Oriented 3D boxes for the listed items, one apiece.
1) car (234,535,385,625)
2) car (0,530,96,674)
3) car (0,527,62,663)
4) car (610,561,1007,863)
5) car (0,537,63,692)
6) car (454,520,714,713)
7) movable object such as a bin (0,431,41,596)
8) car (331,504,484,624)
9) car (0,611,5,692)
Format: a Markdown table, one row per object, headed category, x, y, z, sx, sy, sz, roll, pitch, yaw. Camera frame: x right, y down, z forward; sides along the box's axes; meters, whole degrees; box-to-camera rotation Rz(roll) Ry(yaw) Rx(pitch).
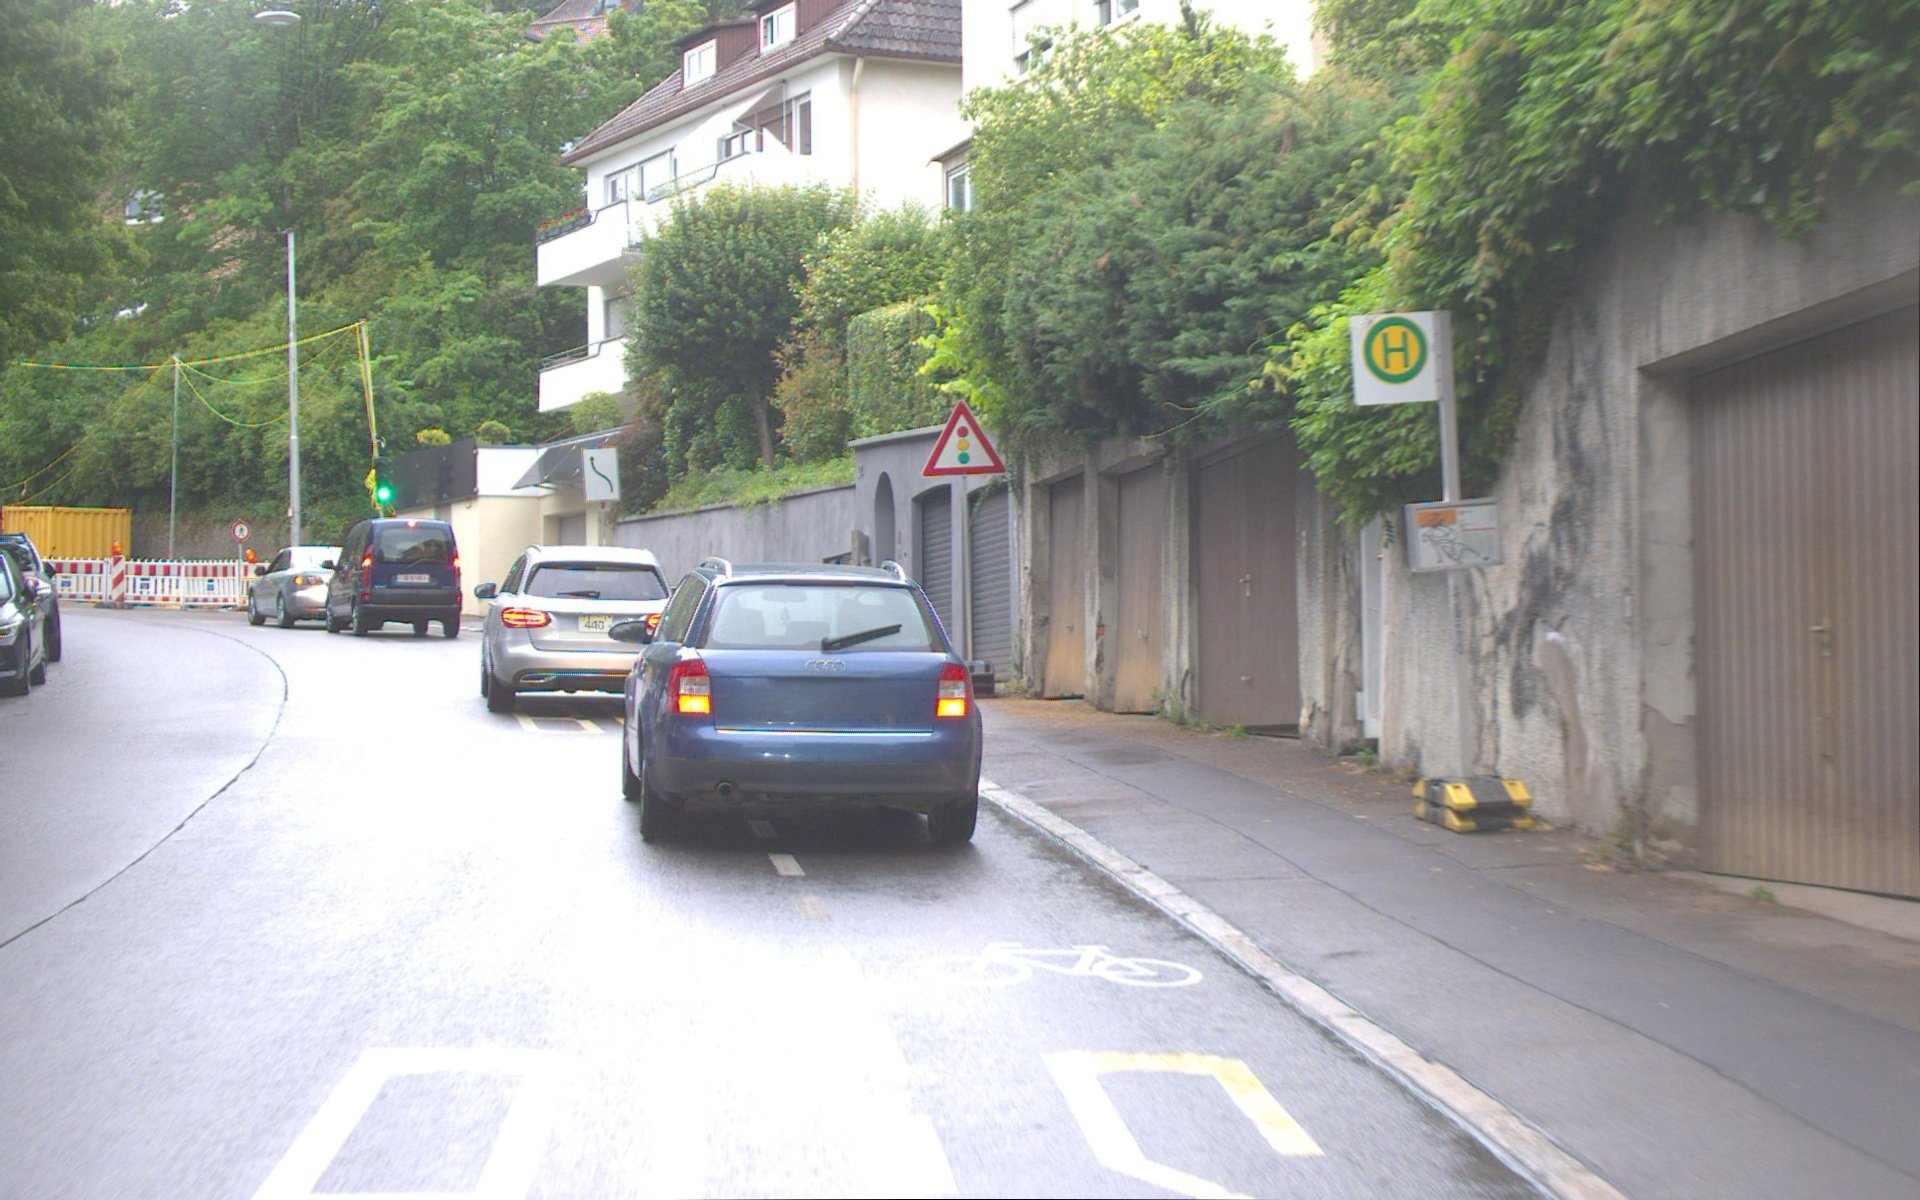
| category | x | y | z | sx | sy | sz | roll | pitch | yaw |
| --- | --- | --- | --- | --- | --- | --- | --- | --- | --- |
| car | -11.312 | -0.371 | 59.648 | 1.720 | 1.481 | 4.077 | -2 | 2 | -23 |
| car | -10.954 | 0.026 | 39.862 | 1.632 | 1.559 | 3.850 | -2 | 1 | -12 |
| car | -12.852 | -0.049 | 45.318 | 1.681 | 1.603 | 4.578 | -8 | 4 | -15 |
| car | -0.931 | 0.518 | 18.722 | 1.785 | 1.437 | 3.965 | 0 | 1 | -8 |
| car | -10.207 | 0.174 | 35.241 | 1.555 | 1.483 | 4.099 | -4 | 1 | -10 |
| car | -3.474 | 0.094 | 31.111 | 1.925 | 1.612 | 4.322 | 0 | 1 | -12 |
| movable object such as a bin | -26.447 | -2.189 | 85.238 | 7.316 | 4.000 | 2.823 | 2 | 1 | 32 |
| car | -8.774 | -0.589 | 54.355 | 1.993 | 1.787 | 4.001 | -1 | 1 | -14 |
| car | -9.805 | 0.190 | 31.523 | 1.555 | 1.505 | 3.384 | -4 | 1 | -9 |
